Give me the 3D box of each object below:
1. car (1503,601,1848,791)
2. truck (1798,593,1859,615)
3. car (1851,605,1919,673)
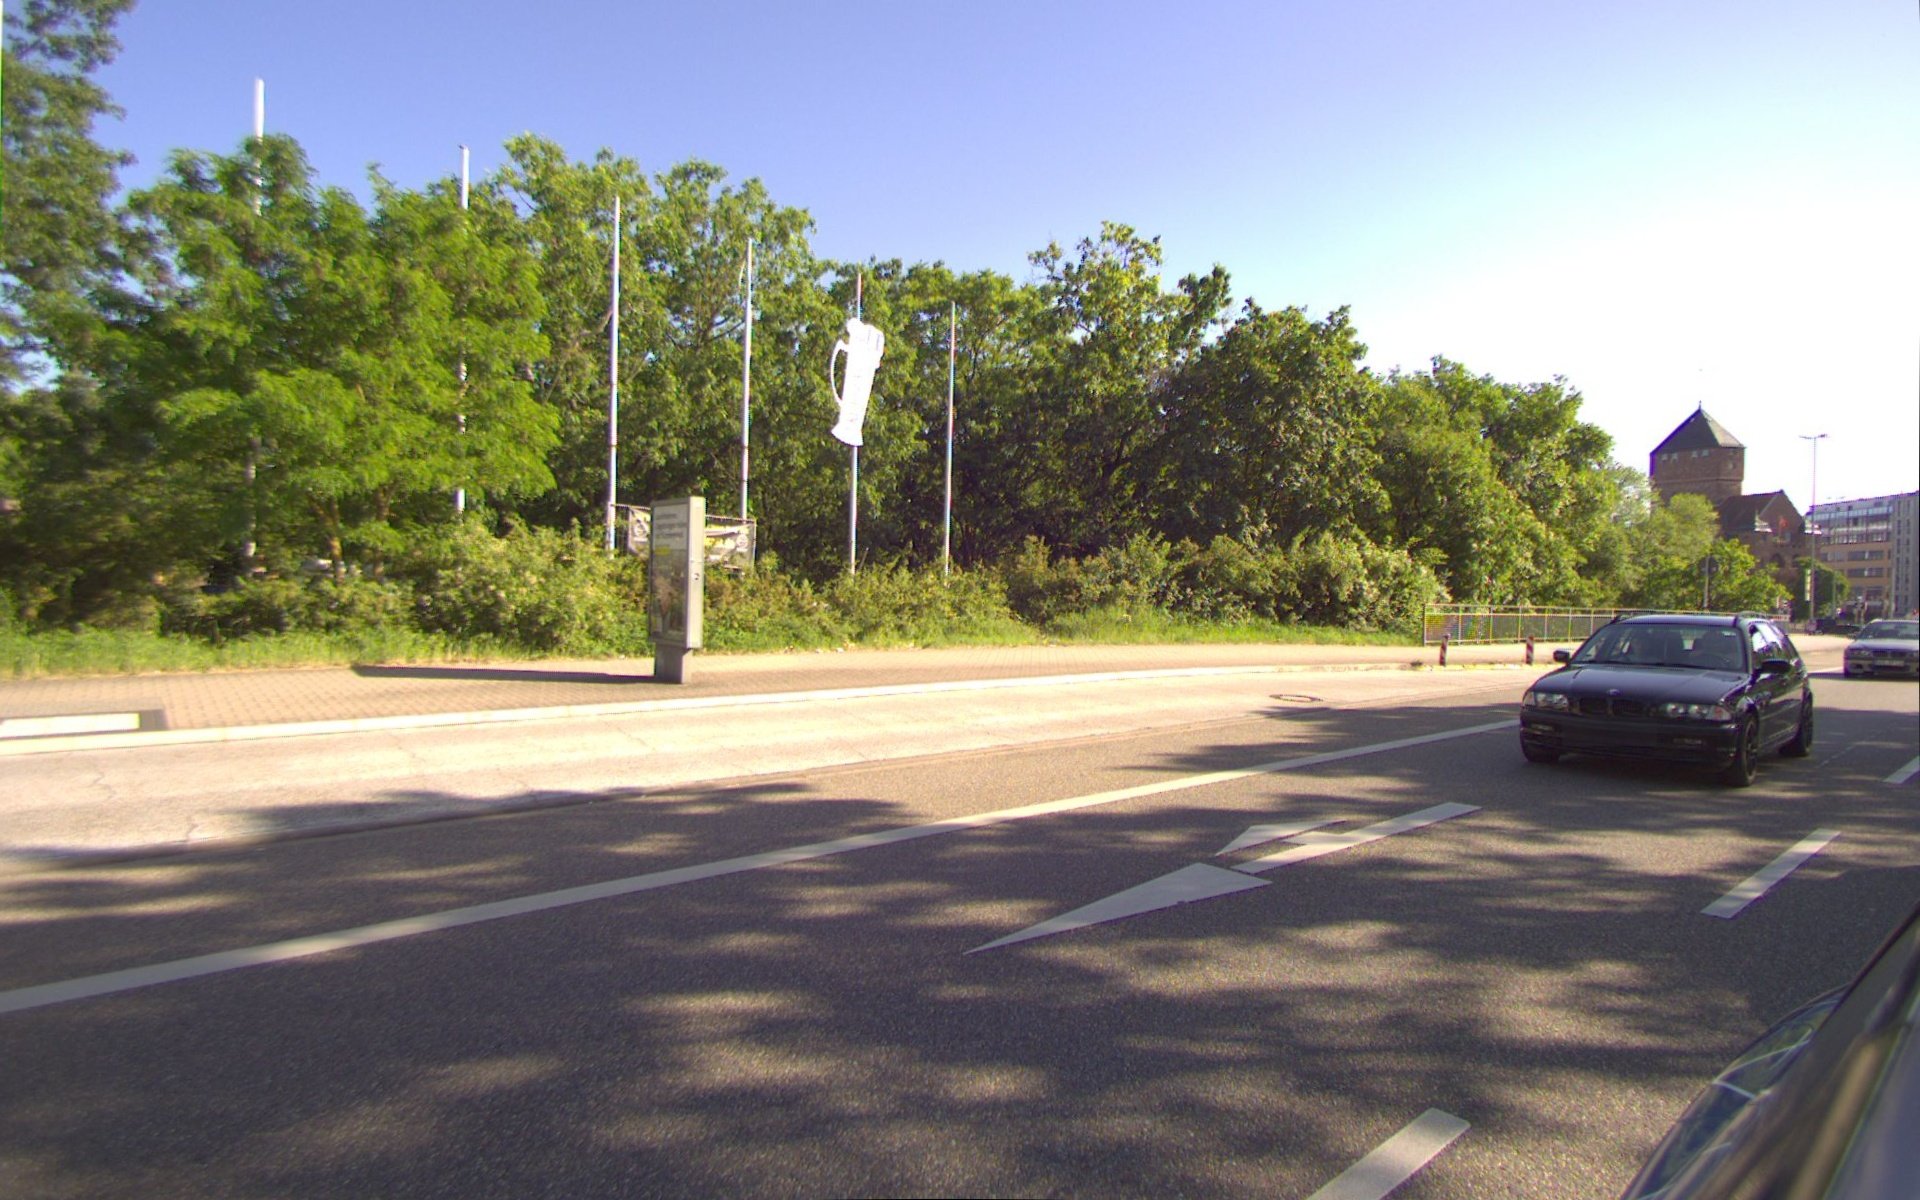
[{"bbox_3d":[7.109,0.749,9.884,4.242,1.420,1.775,0,1,-41],"label":"car"},{"bbox_3d":[139.153,0.534,162.268,3.475,3.291,9.130,1,1,13],"label":"truck"},{"bbox_3d":[22.307,0.901,23.583,3.929,1.438,1.784,1,0,-41],"label":"car"}]
